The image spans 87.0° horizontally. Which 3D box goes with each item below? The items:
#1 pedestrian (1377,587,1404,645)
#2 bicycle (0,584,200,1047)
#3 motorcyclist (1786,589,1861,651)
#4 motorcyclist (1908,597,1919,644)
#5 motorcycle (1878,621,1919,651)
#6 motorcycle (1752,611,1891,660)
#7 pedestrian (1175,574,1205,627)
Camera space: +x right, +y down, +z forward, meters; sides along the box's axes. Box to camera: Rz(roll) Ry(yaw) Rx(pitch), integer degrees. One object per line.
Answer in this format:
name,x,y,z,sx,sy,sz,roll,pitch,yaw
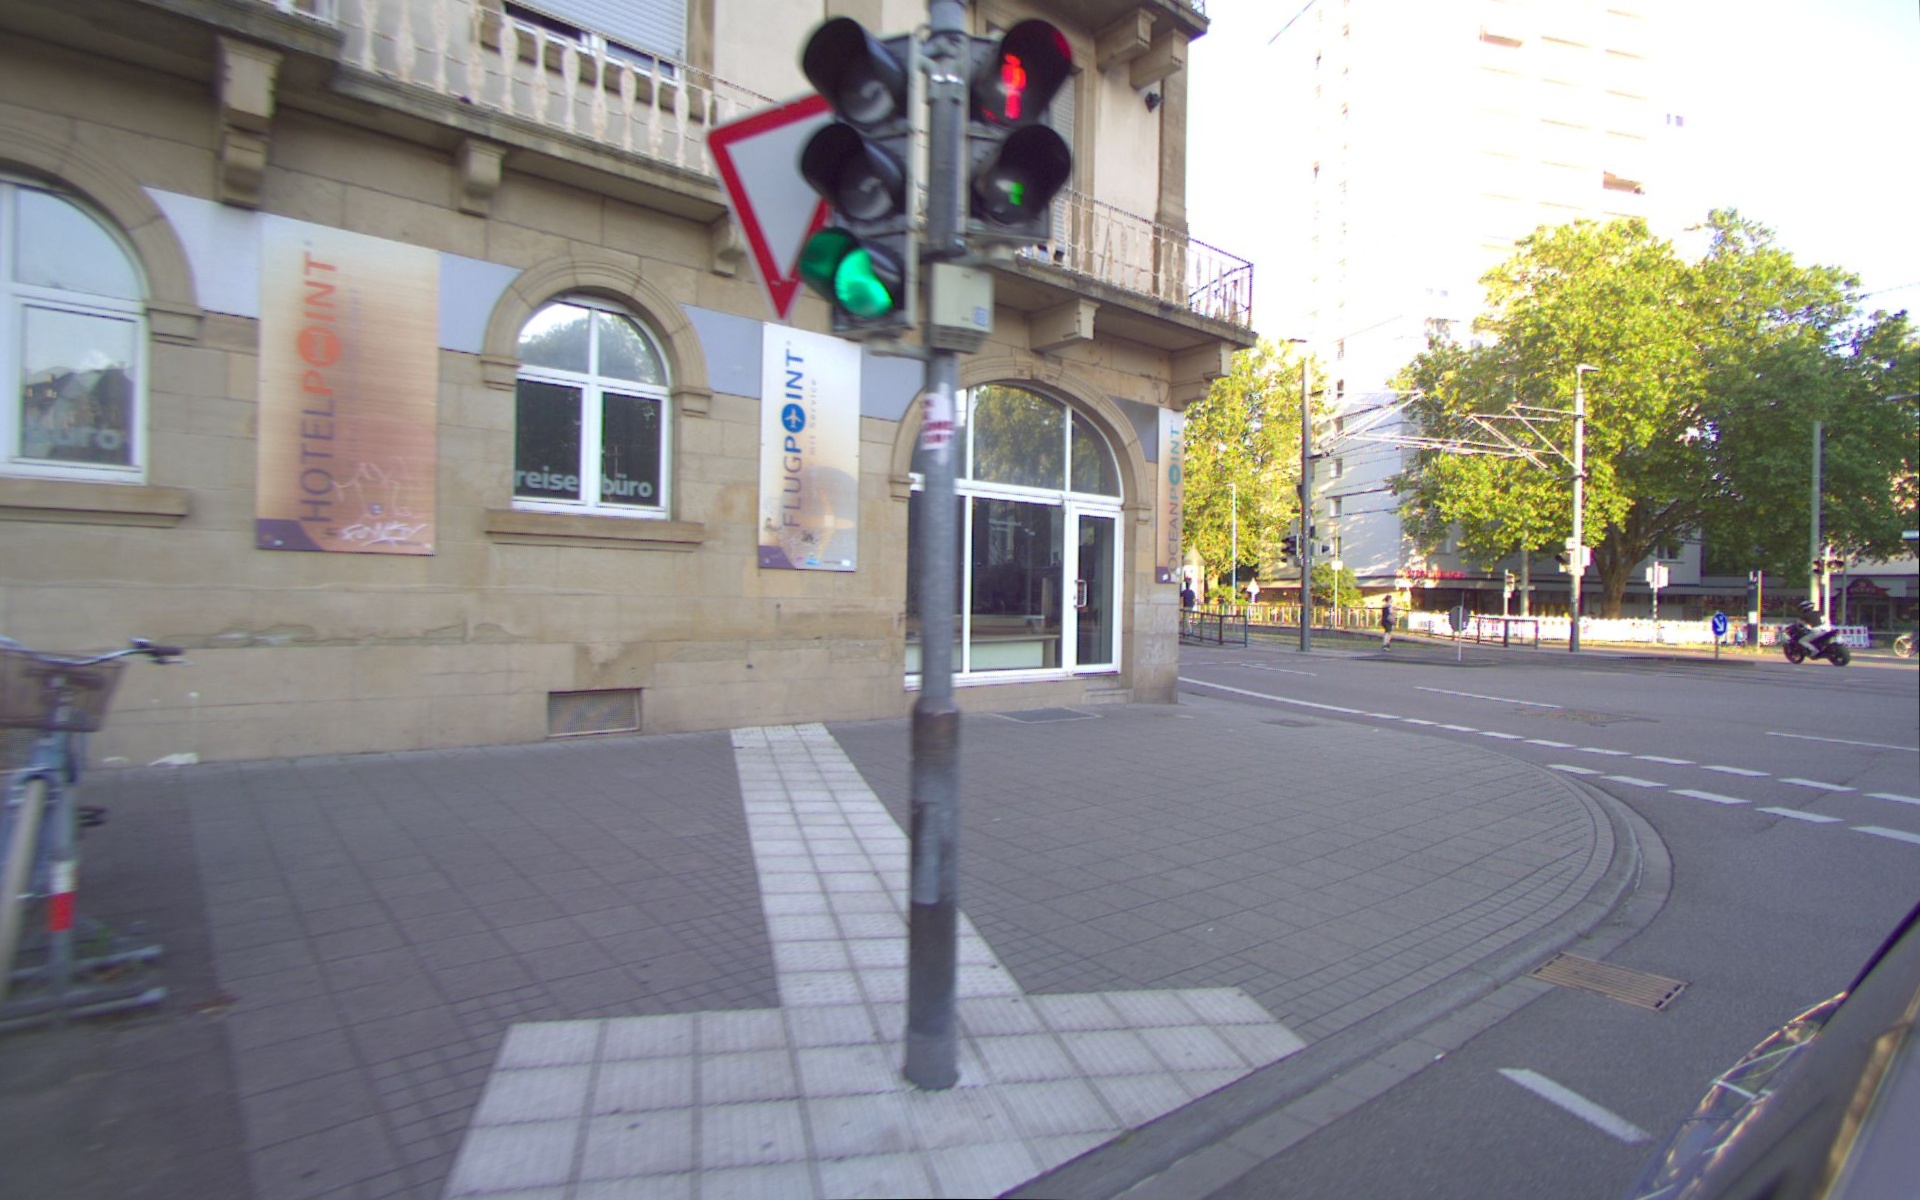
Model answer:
pedestrian,12.785,0.472,30.067,0.652,1.677,0.540,1,0,16
bicycle,-3.239,0.600,3.689,0.635,1.215,2.000,1,2,-40
motorcyclist,22.313,0.499,26.164,0.890,1.575,1.159,1,0,-10
motorcyclist,31.605,0.679,33.031,0.821,1.539,0.617,1,0,25
motorcycle,31.570,1.185,33.030,2.261,0.934,0.617,1,0,25
motorcycle,22.281,0.880,26.273,0.890,1.144,2.811,1,0,-11
pedestrian,8.052,0.026,35.422,0.772,1.839,0.713,1,0,-16
